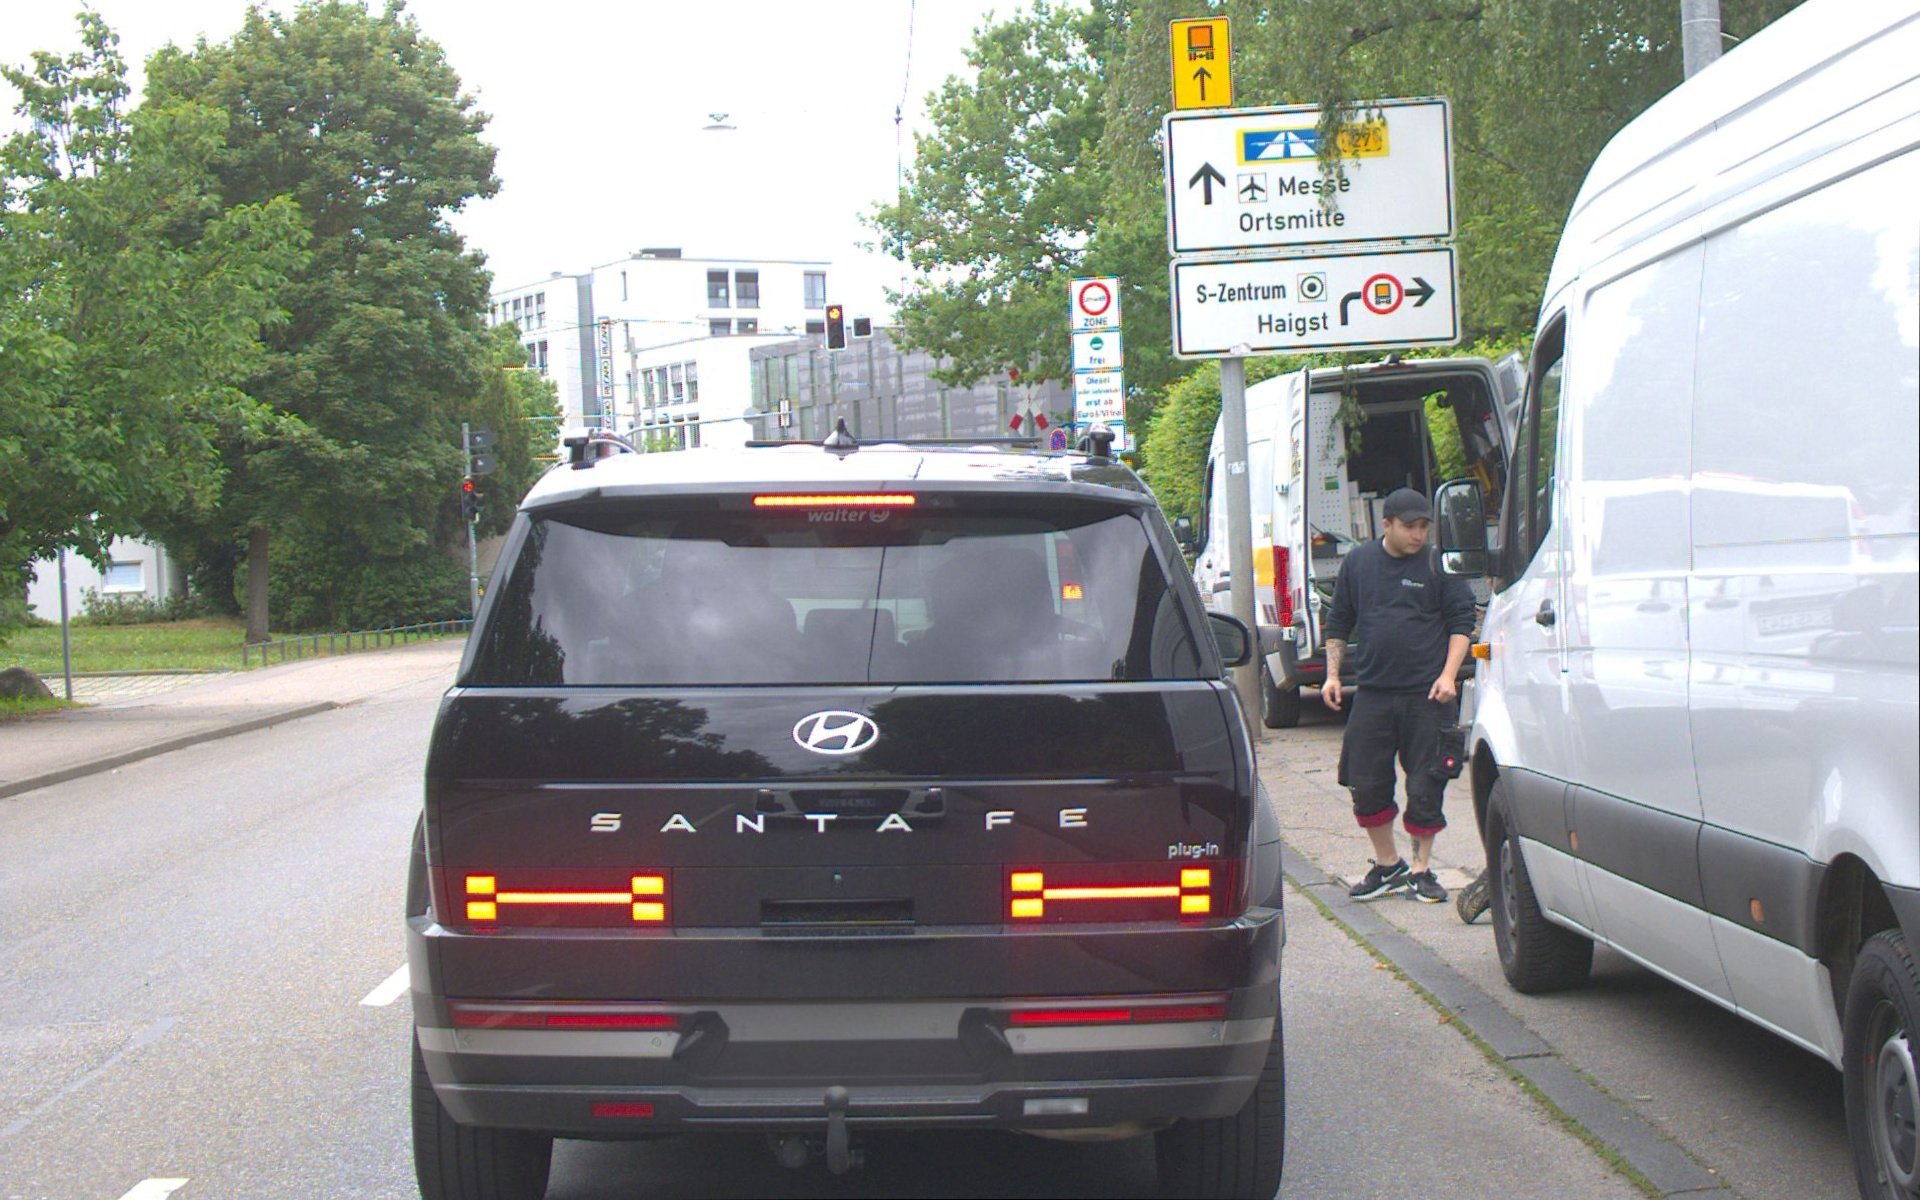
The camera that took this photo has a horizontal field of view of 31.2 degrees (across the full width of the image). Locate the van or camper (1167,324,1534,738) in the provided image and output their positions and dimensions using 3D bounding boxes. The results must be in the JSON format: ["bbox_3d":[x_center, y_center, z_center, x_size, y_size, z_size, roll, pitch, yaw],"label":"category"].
[{"bbox_3d":[2.918,-0.532,26.891,1.963,2.787,5.287,-4,1,-1],"label":"van or camper"}]

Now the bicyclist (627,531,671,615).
[{"bbox_3d":[-6.168,-0.531,68.202,0.855,1.653,0.677,-1,-1,-5],"label":"bicyclist"}]

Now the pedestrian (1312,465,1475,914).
[{"bbox_3d":[1.723,0.352,13.668,0.603,1.737,0.619,-1,-1,7],"label":"pedestrian"}]

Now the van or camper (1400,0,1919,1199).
[{"bbox_3d":[2.587,-0.071,8.066,1.963,2.619,6.359,-4,1,-1],"label":"van or camper"}]

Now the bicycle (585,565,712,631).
[{"bbox_3d":[-6.176,-0.035,68.195,2.492,1.275,0.677,-1,-1,-5],"label":"bicycle"}]

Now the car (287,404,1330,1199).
[{"bbox_3d":[-0.332,0.460,8.554,1.963,1.705,4.000,-1,1,-1],"label":"car"}]

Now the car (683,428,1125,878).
[{"bbox_3d":[-0.299,0.204,17.498,1.963,1.994,4.000,-1,1,-1],"label":"car"}]

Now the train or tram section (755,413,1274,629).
[{"bbox_3d":[0.767,-1.643,83.293,3.193,4.507,18.683,0,-1,-31],"label":"train or tram section"}]
